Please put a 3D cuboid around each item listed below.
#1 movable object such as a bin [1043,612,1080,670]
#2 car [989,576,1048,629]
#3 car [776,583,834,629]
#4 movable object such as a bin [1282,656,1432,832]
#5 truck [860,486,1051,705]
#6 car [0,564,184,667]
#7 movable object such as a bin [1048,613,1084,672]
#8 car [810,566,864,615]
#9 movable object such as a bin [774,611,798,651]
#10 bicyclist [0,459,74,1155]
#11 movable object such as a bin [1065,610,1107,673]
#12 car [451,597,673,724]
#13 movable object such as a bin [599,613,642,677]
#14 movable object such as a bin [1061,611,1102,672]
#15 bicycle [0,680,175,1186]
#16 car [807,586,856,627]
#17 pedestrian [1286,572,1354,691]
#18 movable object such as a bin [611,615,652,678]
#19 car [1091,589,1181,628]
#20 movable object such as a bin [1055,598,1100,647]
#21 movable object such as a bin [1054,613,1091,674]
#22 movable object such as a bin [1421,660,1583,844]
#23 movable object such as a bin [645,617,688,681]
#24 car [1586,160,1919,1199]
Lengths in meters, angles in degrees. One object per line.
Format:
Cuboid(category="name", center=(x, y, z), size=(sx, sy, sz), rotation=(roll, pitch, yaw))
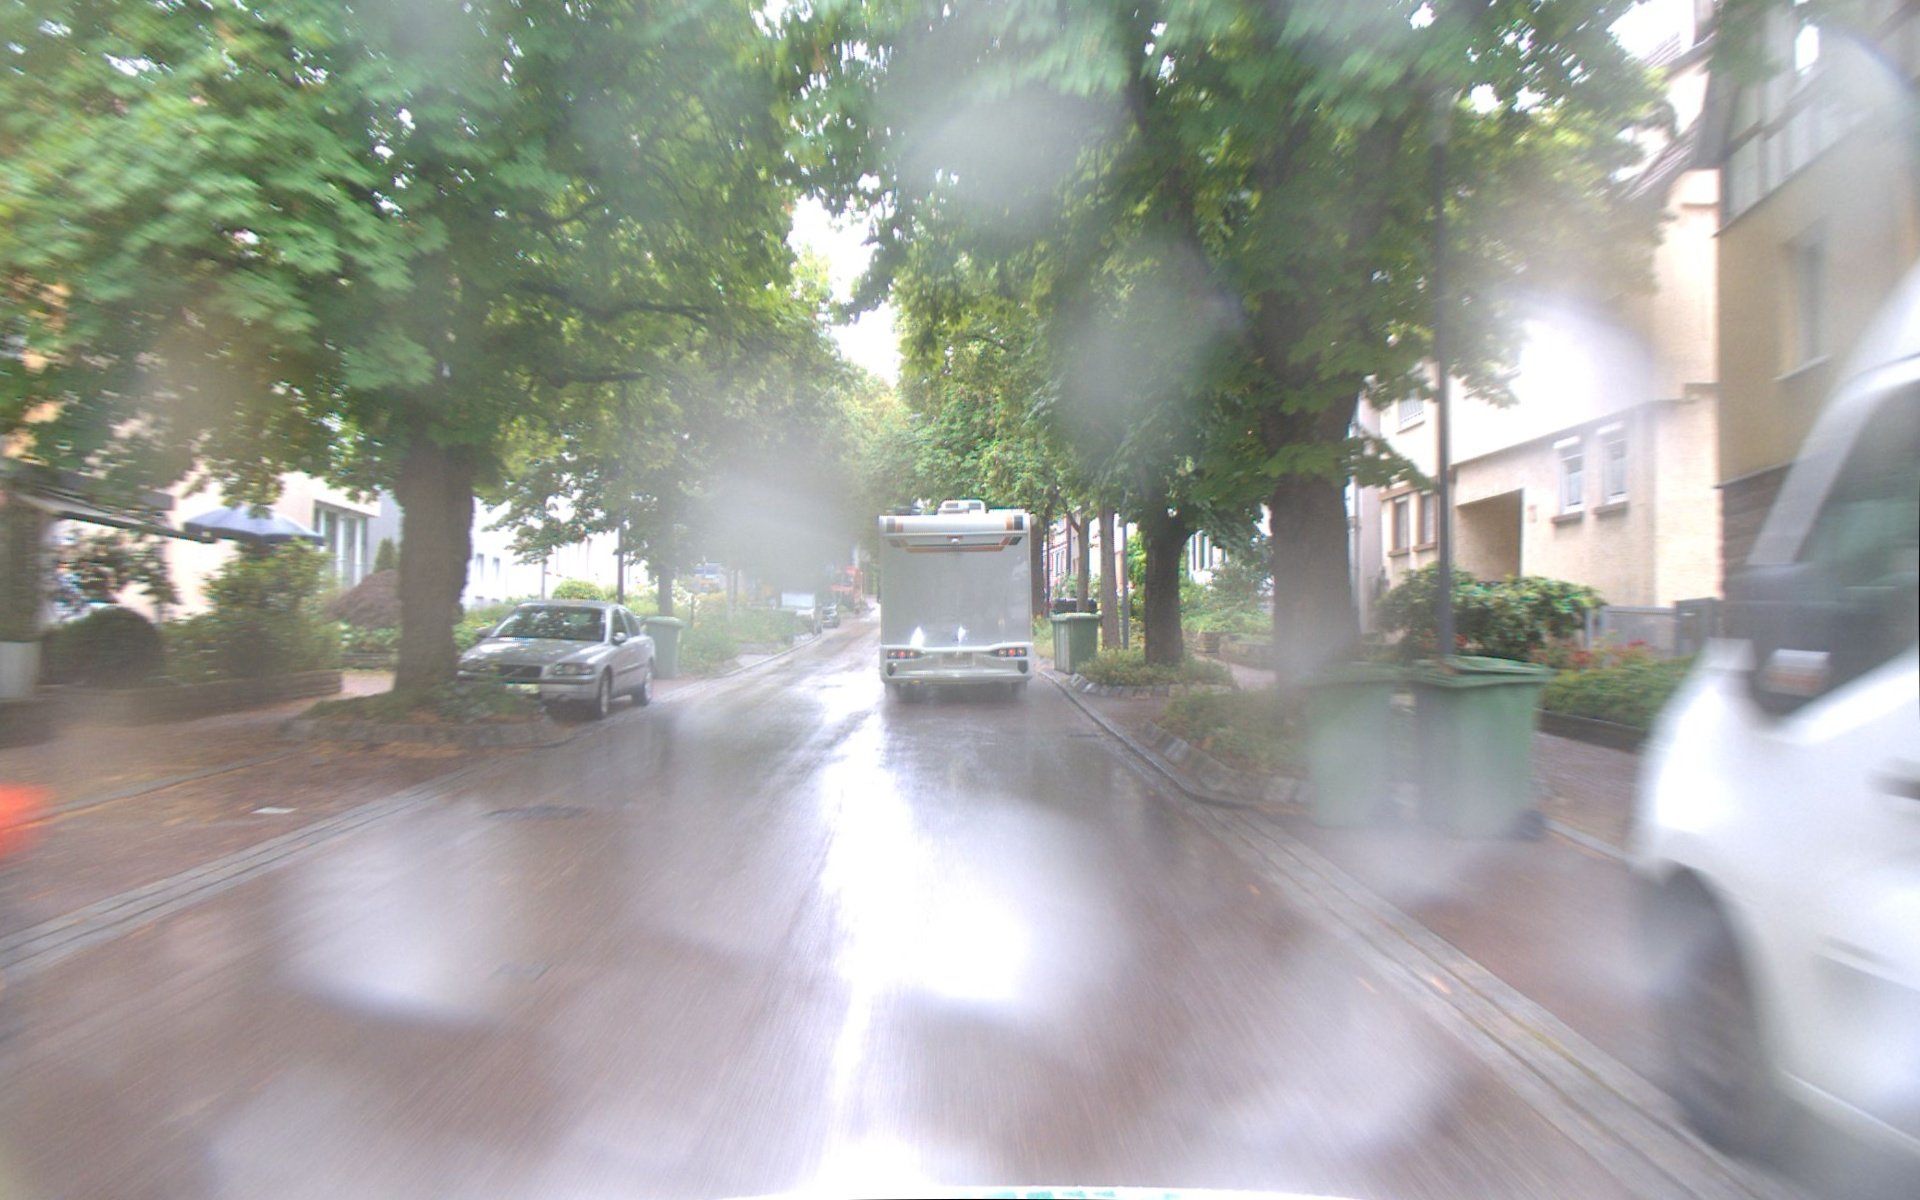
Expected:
Cuboid(category="movable object such as a bin", center=(1.958, 0.790, 31.912), size=(0.631, 1.101, 0.540), rotation=(1, 0, -5))
Cuboid(category="car", center=(2.080, 0.071, 59.766), size=(1.875, 1.823, 4.488), rotation=(1, 1, -1))
Cuboid(category="car", center=(-5.516, 0.183, 59.395), size=(1.613, 1.560, 3.866), rotation=(1, 1, 1))
Cuboid(category="movable object such as a bin", center=(2.640, 0.940, 11.080), size=(0.781, 1.094, 0.878), rotation=(1, 0, -1))
Cuboid(category="truck", center=(-0.097, -0.059, 26.301), size=(2.640, 3.038, 6.235), rotation=(1, 0, -1))
Cuboid(category="car", center=(-14.960, 0.220, 27.255), size=(3.498, 1.503, 1.637), rotation=(3, 0, -2))
Cuboid(category="movable object such as a bin", center=(2.005, 0.803, 31.338), size=(0.618, 1.101, 0.471), rotation=(1, 0, -5))
Cuboid(category="car", center=(-6.591, -0.567, 89.109), size=(2.255, 2.526, 5.787), rotation=(1, 1, 2))
Cuboid(category="movable object such as a bin", center=(-5.043, 0.889, 47.927), size=(0.629, 1.130, 0.536), rotation=(0, 1, 1))
Cuboid(category="bicyclist", center=(-2.729, 0.523, 4.065), size=(0.614, 1.761, 0.880), rotation=(1, 0, -1))
Cuboid(category="movable object such as a bin", center=(2.244, 0.735, 29.495), size=(0.674, 1.101, 0.540), rotation=(1, 0, -5))
Cuboid(category="car", center=(-5.071, 0.703, 21.695), size=(1.736, 1.413, 4.545), rotation=(2, 0, 0))
Cuboid(category="movable object such as a bin", center=(-5.895, 0.779, 28.712), size=(0.582, 1.081, 0.545), rotation=(1, 0, 3))
Cuboid(category="movable object such as a bin", center=(2.200, 0.746, 30.053), size=(0.674, 1.101, 0.540), rotation=(0, 0, -5))
Cuboid(category="bicycle", center=(-2.727, 0.863, 4.119), size=(0.614, 1.230, 1.980), rotation=(1, 0, -1))
Cuboid(category="car", center=(-5.305, 0.250, 68.638), size=(1.735, 1.580, 4.000), rotation=(2, 1, -1))
Cuboid(category="pedestrian", center=(5.215, 0.455, 23.948), size=(0.934, 1.681, 0.794), rotation=(-1, -1, 13))
Cuboid(category="movable object such as a bin", center=(-5.821, 0.814, 29.327), size=(0.582, 1.081, 0.545), rotation=(1, 0, 3))
Cuboid(category="car", center=(6.929, 0.337, 65.373), size=(3.298, 1.455, 1.629), rotation=(-1, 0, -4))
Cuboid(category="movable object such as a bin", center=(3.257, 0.632, 46.077), size=(1.199, 1.338, 1.134), rotation=(0, 0, 1))
Cuboid(category="movable object such as a bin", center=(2.091, 0.807, 30.739), size=(0.597, 1.101, 0.512), rotation=(1, 0, -5))
Cuboid(category="movable object such as a bin", center=(3.450, 0.949, 10.597), size=(0.733, 1.094, 0.878), rotation=(1, 0, -1))
Cuboid(category="movable object such as a bin", center=(-5.174, 0.858, 29.195), size=(0.582, 1.081, 0.545), rotation=(3, 0, 3))
Cuboid(category="car", center=(3.185, 0.284, 2.829), size=(2.097, 2.503, 5.434), rotation=(1, 0, -1))
